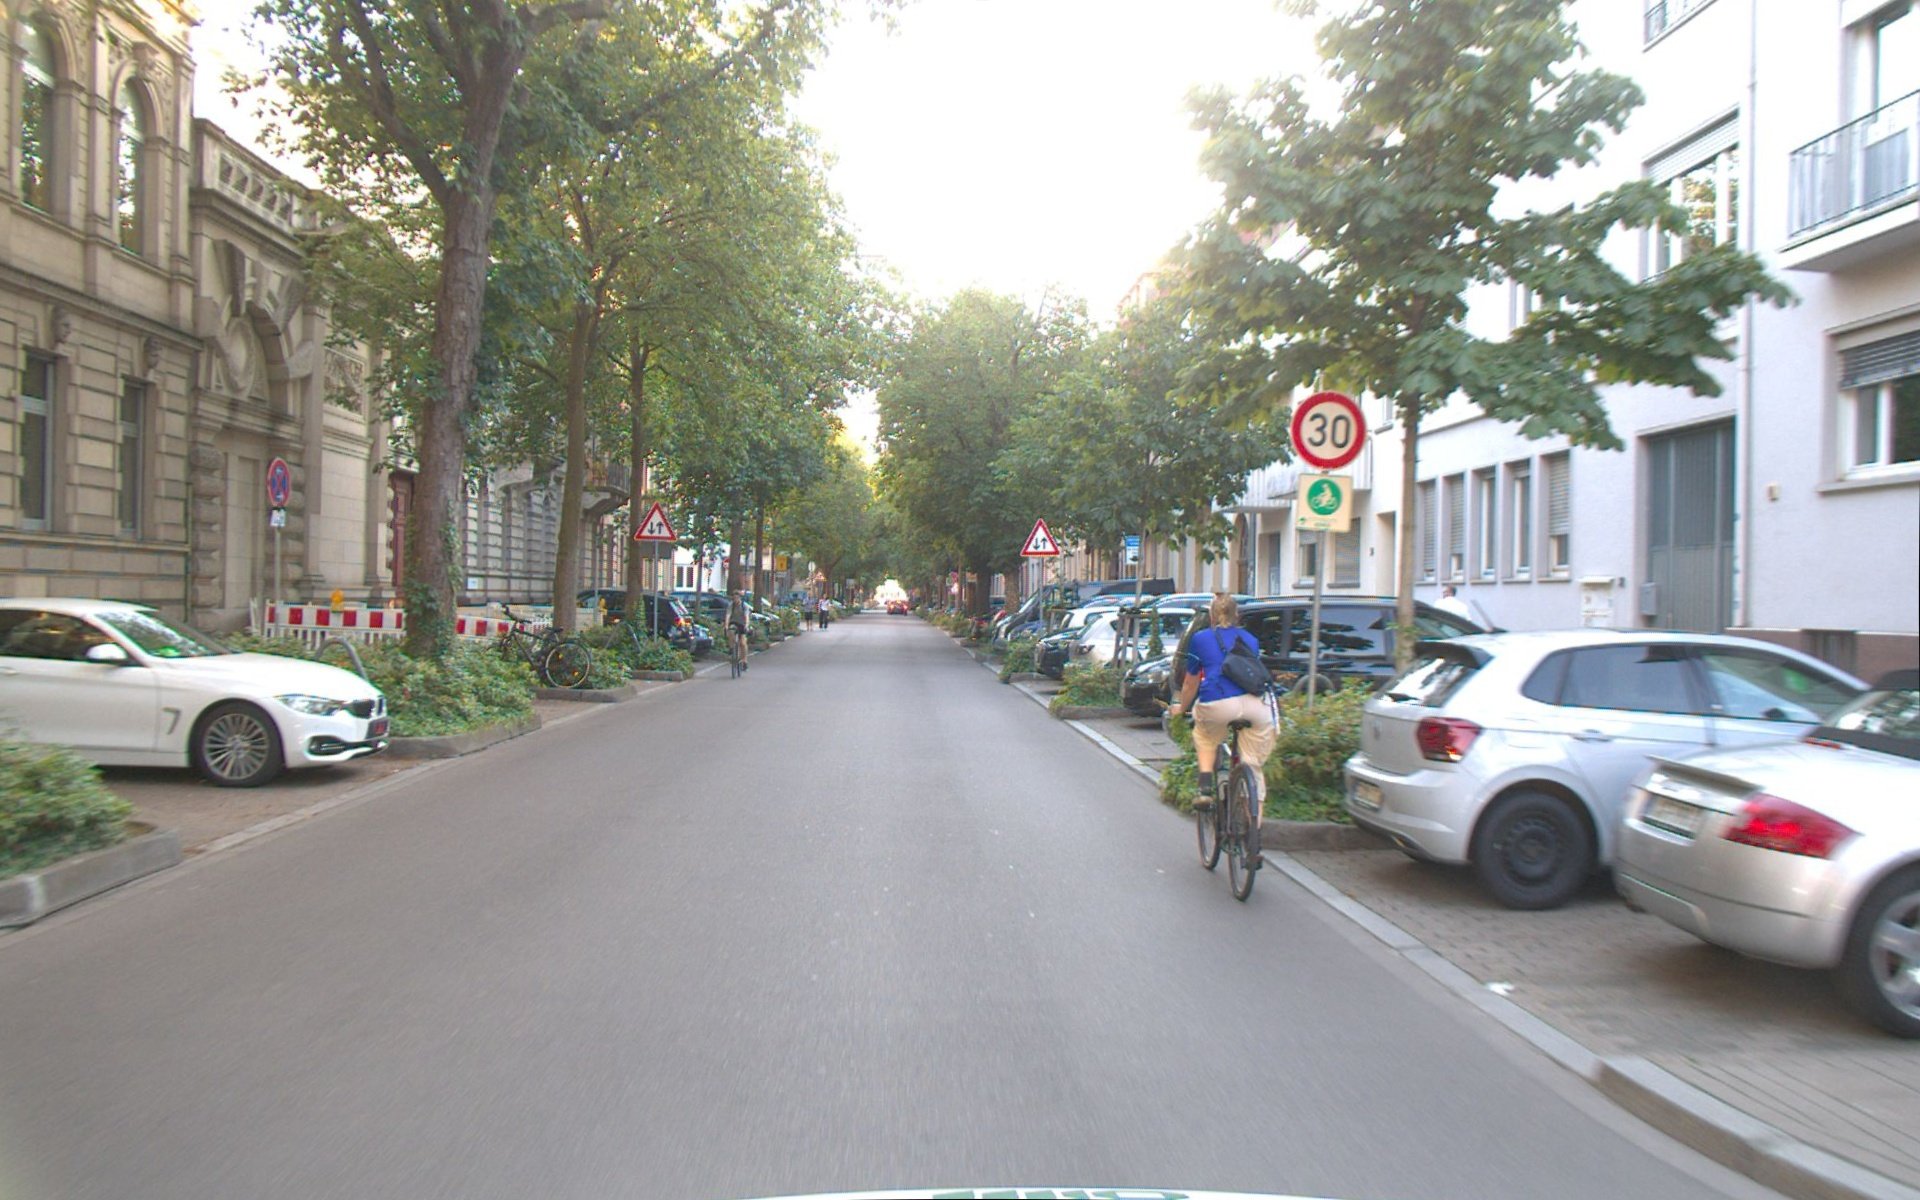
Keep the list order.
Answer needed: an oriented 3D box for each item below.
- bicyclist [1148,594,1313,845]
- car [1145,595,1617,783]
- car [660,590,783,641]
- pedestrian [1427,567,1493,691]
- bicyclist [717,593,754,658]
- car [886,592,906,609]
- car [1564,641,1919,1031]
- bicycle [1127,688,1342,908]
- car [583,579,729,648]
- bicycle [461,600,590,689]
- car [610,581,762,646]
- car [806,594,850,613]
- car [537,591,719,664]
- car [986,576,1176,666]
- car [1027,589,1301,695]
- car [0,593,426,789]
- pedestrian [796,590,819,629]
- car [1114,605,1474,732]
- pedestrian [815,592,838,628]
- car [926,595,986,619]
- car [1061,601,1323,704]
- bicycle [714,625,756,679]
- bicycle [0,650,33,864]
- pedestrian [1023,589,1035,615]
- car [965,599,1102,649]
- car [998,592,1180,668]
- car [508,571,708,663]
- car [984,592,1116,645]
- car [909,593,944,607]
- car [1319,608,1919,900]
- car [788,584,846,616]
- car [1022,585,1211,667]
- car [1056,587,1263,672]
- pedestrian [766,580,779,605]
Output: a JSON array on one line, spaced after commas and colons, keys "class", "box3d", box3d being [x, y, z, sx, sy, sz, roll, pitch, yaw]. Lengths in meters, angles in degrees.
[{"class": "bicyclist", "box3d": [1.561, 0.675, 9.642, 0.660, 1.387, 0.774, 2, -1, -14]}, {"class": "car", "box3d": [3.936, 0.810, 15.959, 4.027, 1.646, 1.960, 1, 0, -2]}, {"class": "car", "box3d": [-7.960, 0.519, 55.401, 3.867, 1.559, 1.906, 2, 0, -3]}, {"class": "pedestrian", "box3d": [7.498, 0.422, 24.825, 0.683, 1.826, 0.880, 0, 0, -2]}, {"class": "bicyclist", "box3d": [-4.502, 0.501, 33.148, 0.658, 1.286, 0.648, 1, 0, -2]}, {"class": "car", "box3d": [-6.419, 0.078, 166.468, 1.917, 1.593, 4.280, -1, 0, -2]}, {"class": "car", "box3d": [4.802, 0.906, 6.913, 3.905, 1.356, 1.794, 1, 0, 1]}, {"class": "bicycle", "box3d": [1.540, 1.090, 9.641, 0.659, 1.048, 1.973, 2, -1, -7]}, {"class": "car", "box3d": [-8.418, 0.365, 46.043, 3.726, 1.701, 1.713, 3, 0, -4]}, {"class": "bicycle", "box3d": [-6.430, 0.653, 24.524, 1.734, 1.254, 0.500, 1, -1, 2]}, {"class": "car", "box3d": [-7.985, 0.377, 48.495, 4.117, 1.701, 1.907, 3, 0, -3]}, {"class": "car", "box3d": [-12.489, 0.344, 156.874, 4.119, 1.664, 1.962, -1, -1, -3]}, {"class": "car", "box3d": [-7.838, 0.636, 39.314, 3.886, 1.411, 1.764, 4, 1, -2]}, {"class": "car", "box3d": [3.054, 0.511, 42.432, 4.596, 2.046, 2.036, -3, 0, -3]}, {"class": "car", "box3d": [3.558, 0.718, 29.357, 4.500, 1.606, 1.943, -3, 0, -4]}, {"class": "car", "box3d": [-6.907, 0.678, 13.520, 4.421, 1.414, 1.916, 1, 0, -1]}, {"class": "pedestrian", "box3d": [-7.073, 0.445, 76.729, 0.786, 1.767, 0.823, 0, 0, -31]}, {"class": "car", "box3d": [4.224, 0.838, 21.313, 4.229, 1.522, 1.793, 0, 0, -4]}, {"class": "pedestrian", "box3d": [-6.214, 0.459, 76.947, 0.786, 1.700, 0.823, 0, 0, -31]}, {"class": "car", "box3d": [-0.337, 0.501, 128.792, 4.621, 1.740, 1.949, 1, 0, -1]}, {"class": "car", "box3d": [3.732, 0.834, 27.142, 3.991, 1.454, 1.818, -3, 0, -1]}, {"class": "bicycle", "box3d": [-4.511, 1.029, 33.224, 0.658, 1.011, 1.758, 1, 0, -2]}, {"class": "bicycle", "box3d": [-5.518, 0.736, 7.921, 1.758, 1.026, 0.598, 2, -1, -2]}, {"class": "pedestrian", "box3d": [4.173, 0.145, 99.810, 0.641, 1.563, 0.831, 0, 0, -2]}, {"class": "car", "box3d": [2.413, 0.777, 54.915, 4.314, 1.418, 1.884, -3, 0, -5]}, {"class": "car", "box3d": [3.067, 0.696, 39.885, 4.074, 1.606, 1.968, -3, 0, -4]}, {"class": "car", "box3d": [-7.622, 0.359, 36.067, 3.887, 1.624, 1.780, 5, 0, -3]}, {"class": "car", "box3d": [2.822, 0.585, 52.456, 3.909, 1.463, 1.925, -3, 0, -4]}, {"class": "car", "box3d": [-4.125, -0.009, 200.270, 4.183, 1.593, 1.962, -1, 0, -3]}, {"class": "car", "box3d": [4.216, 0.815, 9.461, 3.906, 1.463, 1.793, 1, 0, -2]}, {"class": "car", "box3d": [-11.820, 0.026, 136.736, 4.588, 2.521, 1.999, 1, -1, -3]}, {"class": "car", "box3d": [3.439, 0.556, 36.835, 3.887, 1.606, 1.850, -3, 0, -4]}, {"class": "car", "box3d": [3.853, 0.558, 32.265, 3.718, 1.448, 1.696, -3, 0, -4]}, {"class": "pedestrian", "box3d": [-13.377, -0.542, 118.020, 0.689, 1.788, 0.739, 1, -1, 21]}]
